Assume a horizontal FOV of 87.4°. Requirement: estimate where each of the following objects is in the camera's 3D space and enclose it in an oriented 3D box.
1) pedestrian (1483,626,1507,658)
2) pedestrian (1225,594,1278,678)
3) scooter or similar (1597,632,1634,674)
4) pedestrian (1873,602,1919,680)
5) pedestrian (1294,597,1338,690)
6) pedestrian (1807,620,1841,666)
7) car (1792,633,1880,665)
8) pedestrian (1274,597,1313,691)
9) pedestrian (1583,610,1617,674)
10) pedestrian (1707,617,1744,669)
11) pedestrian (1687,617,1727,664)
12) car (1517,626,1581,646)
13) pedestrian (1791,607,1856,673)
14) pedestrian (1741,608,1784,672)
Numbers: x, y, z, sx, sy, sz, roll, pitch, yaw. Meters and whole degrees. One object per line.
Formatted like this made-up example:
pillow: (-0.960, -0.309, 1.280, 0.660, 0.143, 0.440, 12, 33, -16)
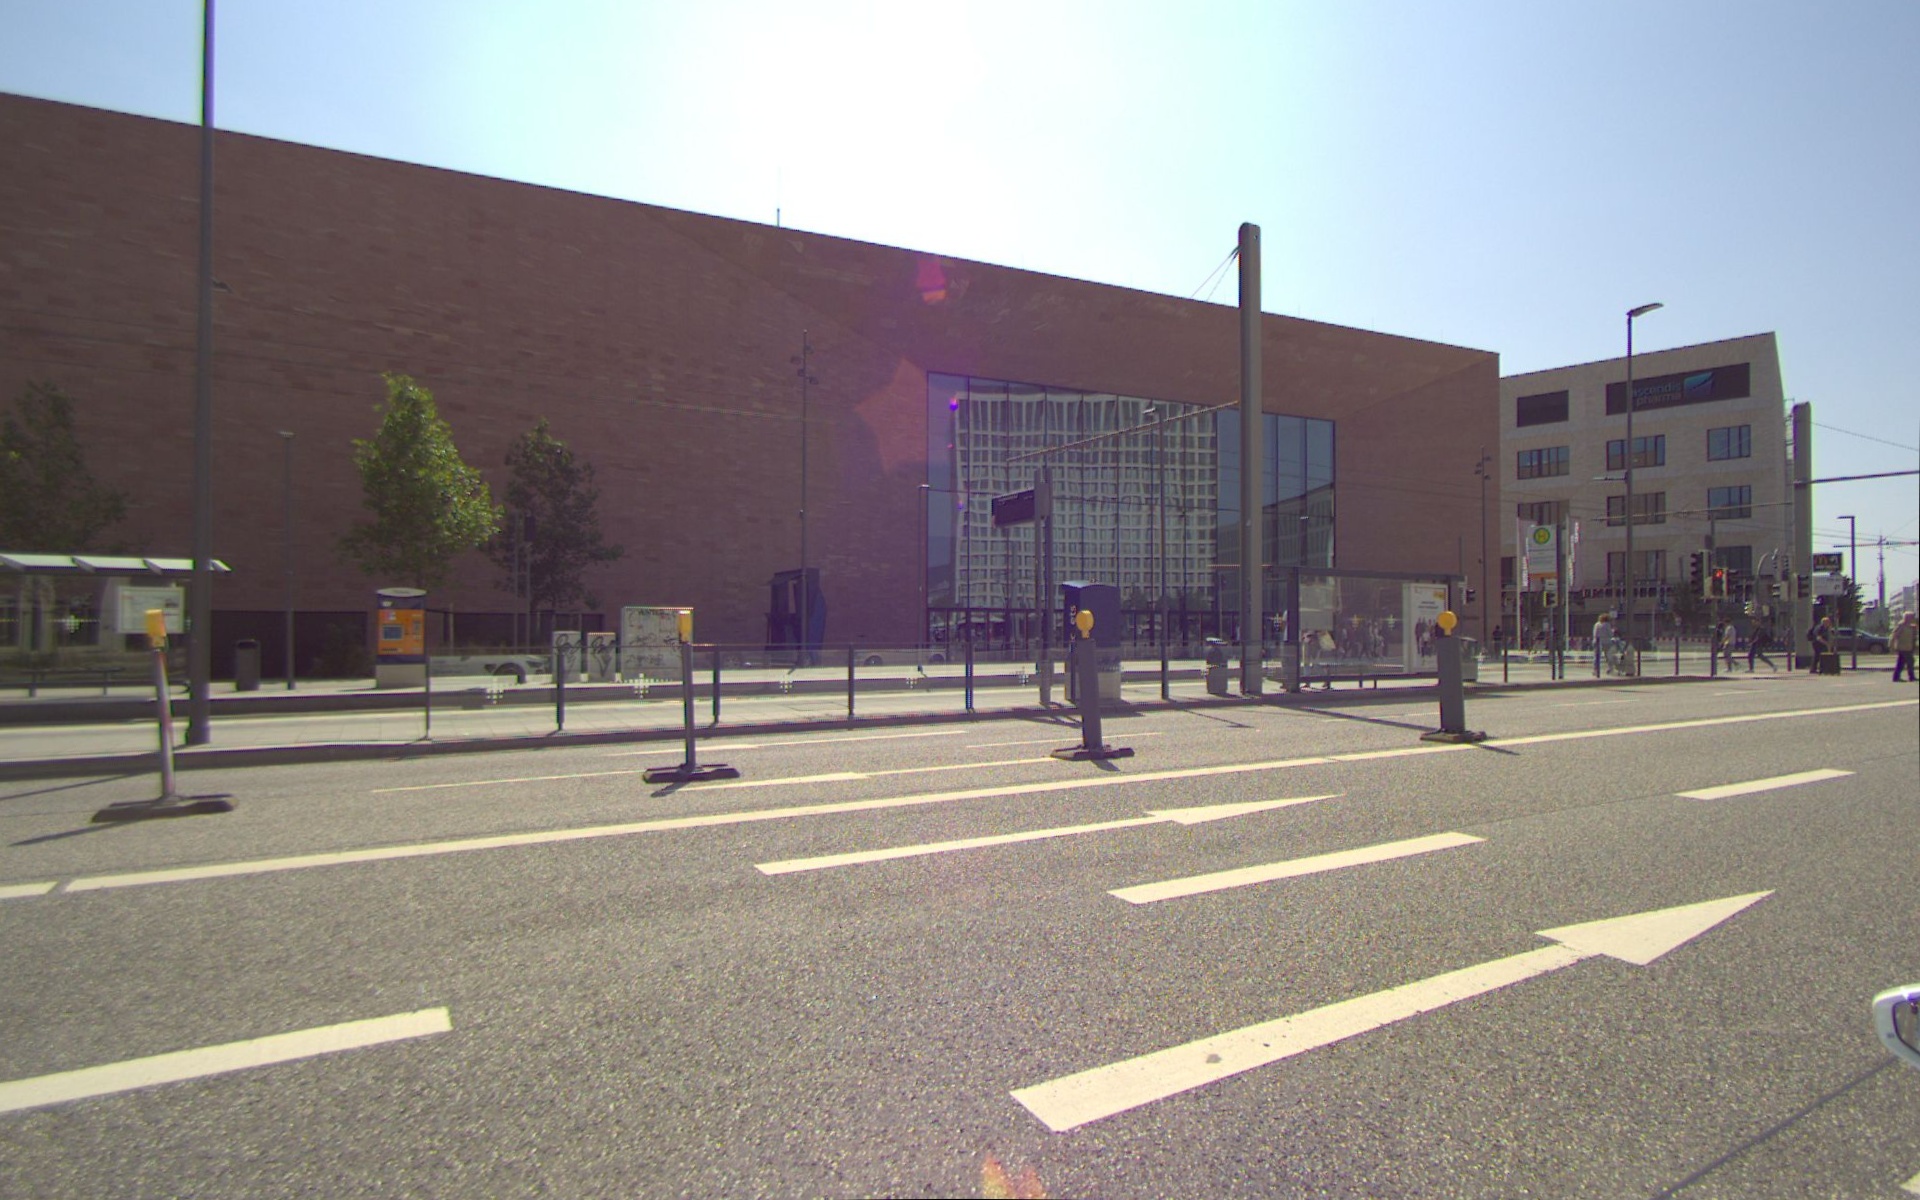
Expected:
pedestrian: (27.156, 2.124, 51.022, 0.880, 1.592, 0.707, 1, -1, -31)
pedestrian: (6.631, 0.803, 22.836, 0.815, 1.844, 0.807, 1, 0, -30)
scooter or similar: (17.336, 1.399, 26.582, 0.824, 1.073, 0.502, 1, -1, -30)
pedestrian: (23.512, 1.019, 25.218, 0.786, 1.915, 0.634, 1, -1, -29)
pedestrian: (7.286, 0.874, 20.546, 0.654, 1.844, 0.720, 1, 0, 37)
pedestrian: (32.037, 1.588, 37.245, 0.681, 1.703, 0.672, 0, -1, 11)
car: (54.381, 3.030, 62.395, 1.784, 1.840, 3.906, 2, -1, -41)
pedestrian: (6.690, 0.858, 20.133, 0.543, 1.844, 0.597, 1, 0, 39)
pedestrian: (16.688, 1.098, 26.190, 0.642, 1.643, 0.502, 0, -1, -30)
pedestrian: (25.333, 1.420, 33.255, 0.883, 1.696, 1.008, -1, -2, 42)
pedestrian: (30.709, 1.642, 41.307, 0.966, 1.915, 0.889, 0, -1, -10)
car: (44.931, 2.740, 76.660, 1.670, 1.505, 3.854, 1, -2, -39)
pedestrian: (26.103, 1.203, 30.376, 1.046, 1.915, 1.164, -1, -1, -28)
pedestrian: (26.145, 1.287, 32.725, 1.009, 2.040, 0.949, -1, -2, 42)
